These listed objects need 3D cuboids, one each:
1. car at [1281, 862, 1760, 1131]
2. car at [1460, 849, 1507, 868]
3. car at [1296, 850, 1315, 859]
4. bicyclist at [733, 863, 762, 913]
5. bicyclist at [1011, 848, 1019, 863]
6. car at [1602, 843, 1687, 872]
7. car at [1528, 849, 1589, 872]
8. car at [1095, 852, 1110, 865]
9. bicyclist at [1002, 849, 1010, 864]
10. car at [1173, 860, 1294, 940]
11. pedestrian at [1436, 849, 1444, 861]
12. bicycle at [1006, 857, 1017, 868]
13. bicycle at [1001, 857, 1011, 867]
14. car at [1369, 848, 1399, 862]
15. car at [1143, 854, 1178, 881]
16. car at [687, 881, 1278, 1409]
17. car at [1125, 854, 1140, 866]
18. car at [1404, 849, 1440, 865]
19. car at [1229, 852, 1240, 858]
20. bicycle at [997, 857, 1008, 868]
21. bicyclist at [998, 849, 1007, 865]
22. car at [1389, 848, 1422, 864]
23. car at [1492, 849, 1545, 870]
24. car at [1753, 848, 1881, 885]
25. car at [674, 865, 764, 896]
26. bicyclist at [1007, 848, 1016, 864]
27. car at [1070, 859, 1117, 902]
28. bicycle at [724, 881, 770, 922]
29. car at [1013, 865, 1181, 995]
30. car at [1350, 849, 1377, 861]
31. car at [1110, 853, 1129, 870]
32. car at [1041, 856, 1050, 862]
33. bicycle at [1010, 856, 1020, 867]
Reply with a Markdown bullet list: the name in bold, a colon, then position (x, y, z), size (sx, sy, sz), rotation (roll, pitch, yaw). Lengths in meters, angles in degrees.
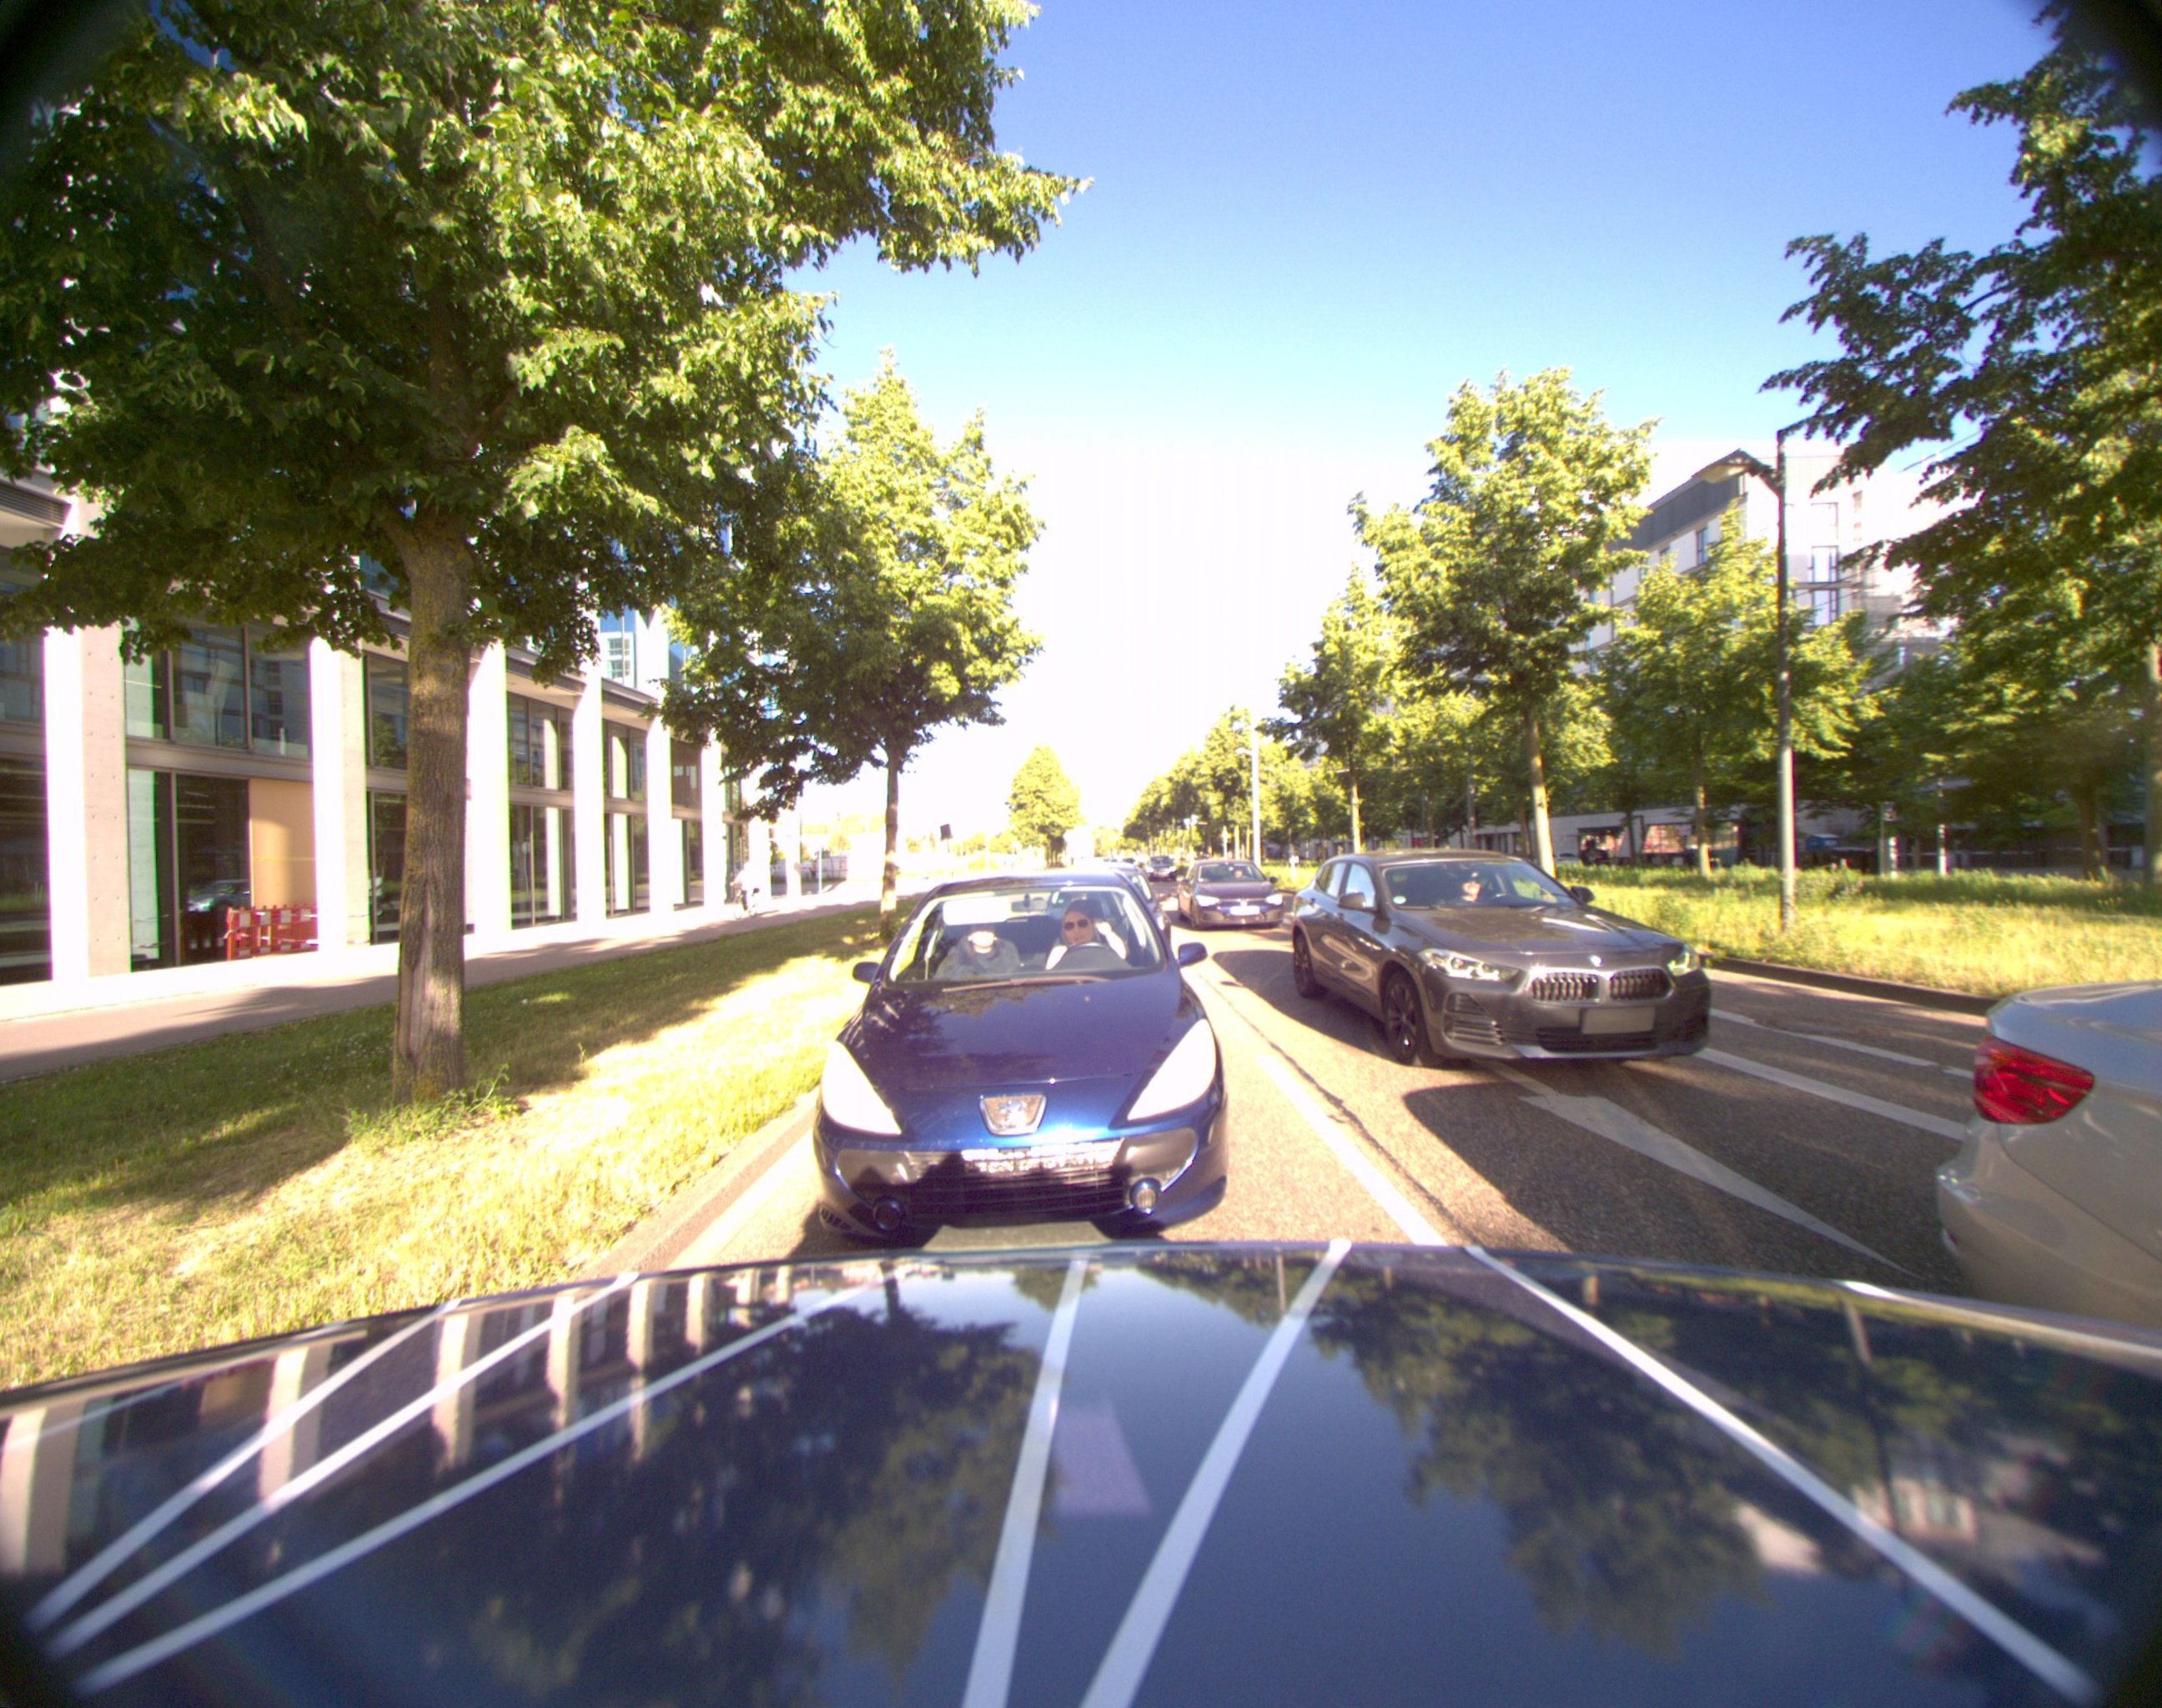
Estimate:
- **car**: position (3.080, 0.861, 6.426), size (1.861, 1.482, 4.001), rotation (-1, 0, 3)
- **car**: position (35.155, 0.367, 66.524), size (1.884, 1.588, 4.184), rotation (-1, 0, 1)
- **car**: position (36.611, 0.019, 124.163), size (1.998, 1.387, 4.000), rotation (-1, 0, 1)
- **bicyclist**: position (-10.306, 1.037, 23.508), size (0.591, 1.530, 0.699), rotation (1, 0, -1)
- **bicyclist**: position (-9.146, 0.244, 104.766), size (0.931, 2.045, 1.121), rotation (-1, 1, 1)
- **car**: position (33.338, 0.211, 45.082), size (1.951, 1.588, 4.184), rotation (-1, 0, 1)
- **car**: position (34.902, 0.479, 55.647), size (1.884, 1.588, 4.184), rotation (-1, 0, 1)
- **car**: position (2.887, 0.599, 101.066), size (1.879, 1.561, 4.344), rotation (-1, 0, 1)
- **bicyclist**: position (-10.295, 0.319, 104.507), size (0.931, 2.045, 1.121), rotation (-1, 1, 1)
- **car**: position (3.127, 0.880, 16.453), size (1.878, 1.415, 4.344), rotation (-1, 0, 2)
- **pedestrian**: position (42.193, 0.101, 89.413), size (0.604, 1.331, 0.660), rotation (-1, 1, 1)
- **bicycle**: position (-9.174, 1.065, 100.701), size (0.931, 1.355, 4.000), rotation (-1, 0, 1)
- **bicycle**: position (-10.295, 1.100, 104.780), size (0.931, 1.355, 4.000), rotation (-1, 0, 1)
- **car**: position (35.502, 0.146, 89.035), size (1.884, 1.588, 4.184), rotation (-1, 0, 1)
- **car**: position (4.955, 0.786, 47.694), size (1.878, 1.577, 4.344), rotation (-1, 0, 2)
- **car**: position (-0.286, 1.014, 4.664), size (1.846, 1.473, 4.481), rotation (-2, 0, 1)
- **car**: position (7.007, 0.832, 103.475), size (1.878, 1.561, 4.344), rotation (-1, 0, 2)
- **car**: position (35.031, 0.272, 78.206), size (1.884, 1.588, 4.184), rotation (-1, 0, 1)
- **car**: position (36.117, 0.183, 179.242), size (1.998, 1.387, 4.001), rotation (-1, 0, 4)
- **bicycle**: position (-10.354, 1.143, 100.393), size (0.931, 1.355, 4.000), rotation (-1, 0, 1)
- **bicyclist**: position (-10.364, 0.360, 100.403), size (0.931, 2.045, 1.121), rotation (-1, 1, 1)
- **car**: position (35.444, 0.202, 83.114), size (1.884, 1.588, 4.184), rotation (-1, 0, 1)
- **car**: position (35.189, 0.412, 61.241), size (1.884, 1.588, 4.184), rotation (-1, 0, 1)
- **car**: position (34.086, 0.542, 35.362), size (1.951, 1.588, 4.184), rotation (-1, 0, 1)
- **car**: position (-20.041, 1.436, 42.161), size (3.996, 1.569, 2.000), rotation (-1, 0, 3)
- **bicyclist**: position (-9.195, 0.284, 100.604), size (0.931, 2.045, 1.121), rotation (-1, 1, 1)
- **car**: position (0.499, 0.994, 29.961), size (1.724, 1.516, 4.000), rotation (-1, 0, 1)
- **bicycle**: position (-10.314, 1.439, 23.514), size (0.591, 1.149, 1.927), rotation (1, 0, -1)
- **car**: position (0.221, 0.955, 11.468), size (1.998, 1.437, 4.622), rotation (-1, 0, 1)
- **car**: position (35.428, 0.116, 95.345), size (1.998, 1.387, 4.001), rotation (-1, 0, 4)
- **car**: position (3.877, 0.751, 77.125), size (1.878, 1.561, 4.344), rotation (-1, 0, 2)
- **car**: position (-9.058, 1.327, 193.982), size (1.998, 1.556, 4.835), rotation (-1, 0, 1)
- **bicycle**: position (-9.144, 1.027, 104.855), size (0.931, 1.355, 4.000), rotation (-1, 0, 1)
